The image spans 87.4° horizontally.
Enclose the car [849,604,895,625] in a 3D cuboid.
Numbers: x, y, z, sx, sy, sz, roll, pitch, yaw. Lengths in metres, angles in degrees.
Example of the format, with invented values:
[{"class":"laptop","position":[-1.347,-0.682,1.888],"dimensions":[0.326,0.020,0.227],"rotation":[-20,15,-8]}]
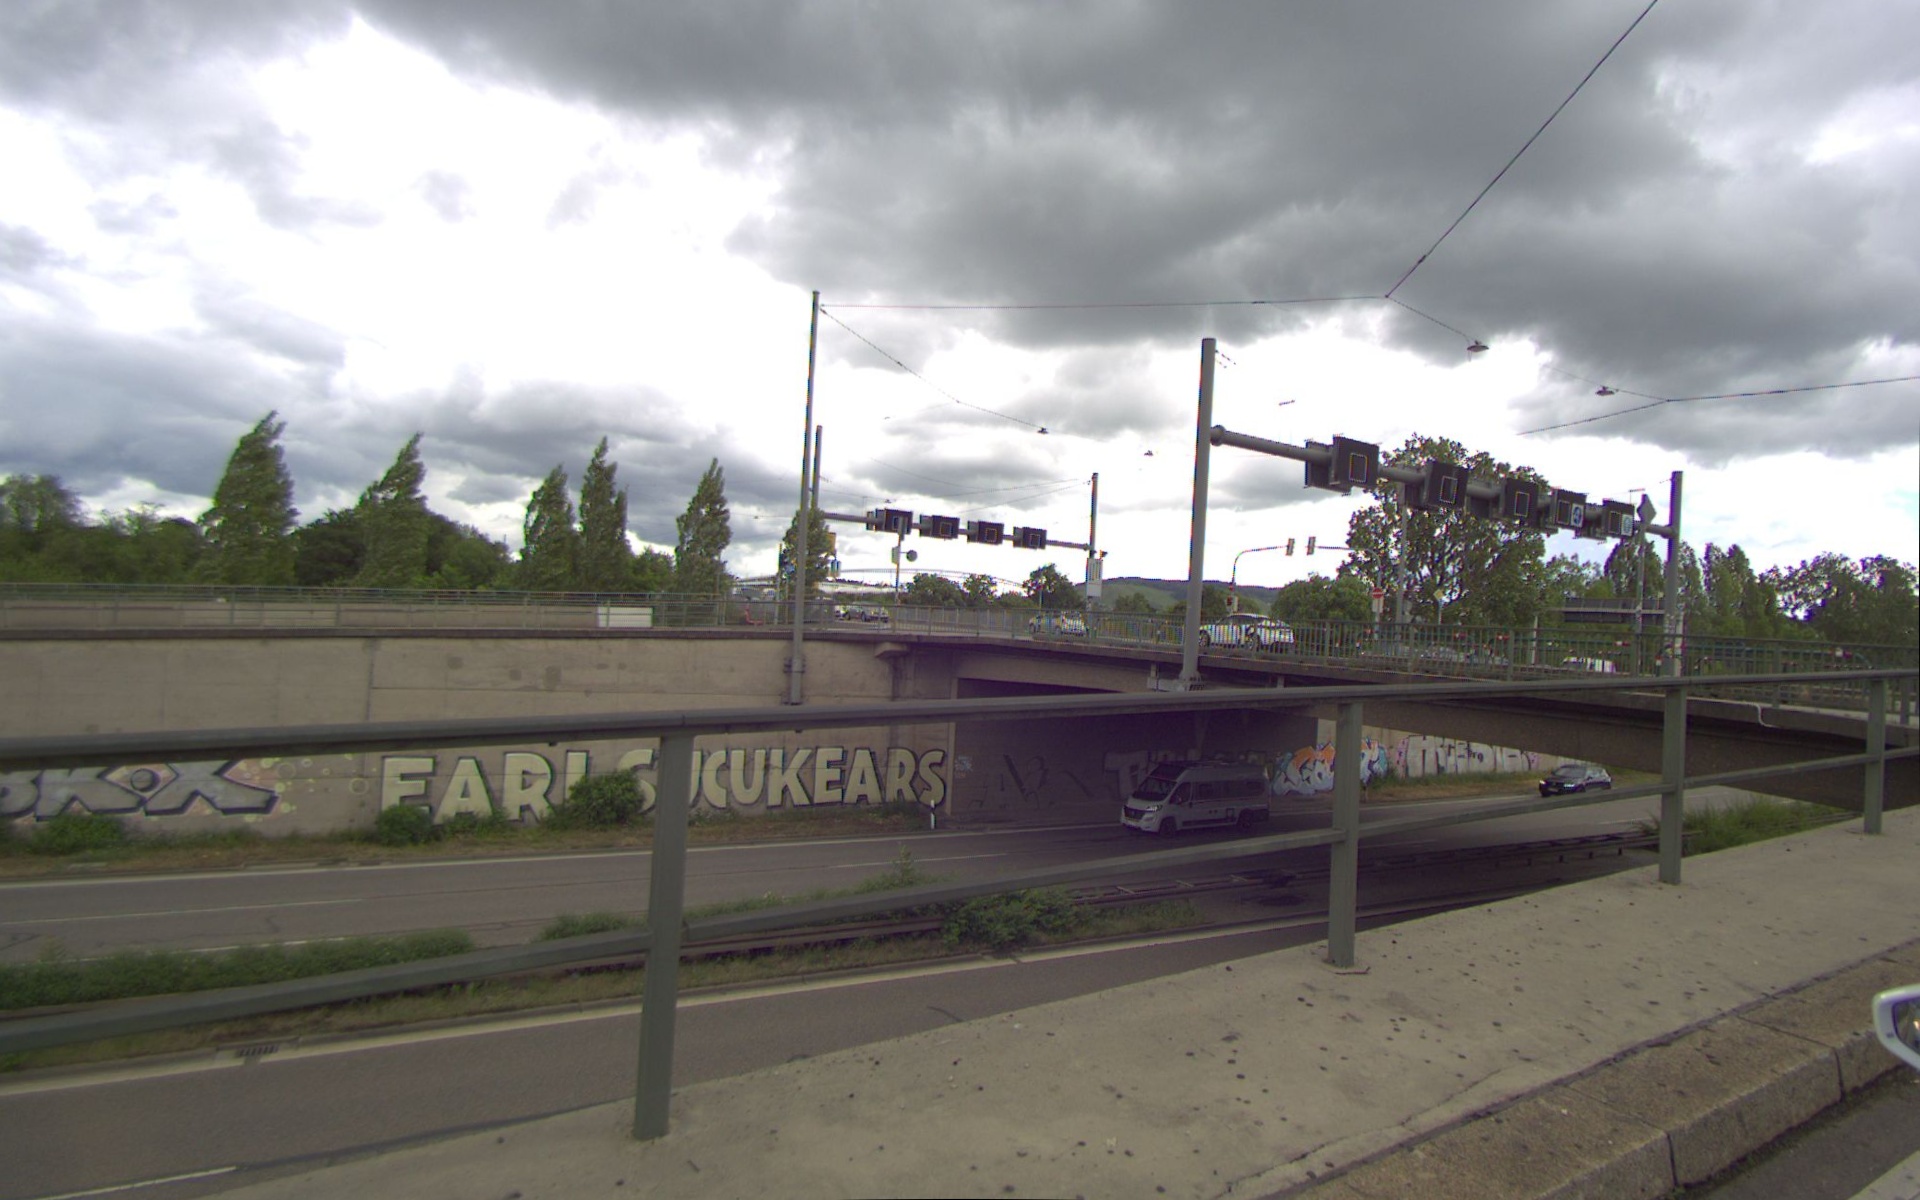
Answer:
[{"class":"car","position":[-5.860,0.959,66.495],"dimensions":[1.537,1.372,3.860],"rotation":[1,-1,-31]}]

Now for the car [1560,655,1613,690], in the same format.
[{"class":"car","position":[43.823,5.013,70.249],"dimensions":[3.626,2.245,1.843],"rotation":[1,0,-35]}]

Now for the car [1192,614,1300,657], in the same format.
[{"class":"car","position":[12.480,1.518,44.058],"dimensions":[1.917,1.740,4.365],"rotation":[1,-1,-33]}]

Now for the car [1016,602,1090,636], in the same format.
[{"class":"car","position":[5.033,1.014,54.774],"dimensions":[1.918,1.740,3.961],"rotation":[1,-1,-35]}]

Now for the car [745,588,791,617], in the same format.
[{"class":"car","position":[-14.185,0.163,74.008],"dimensions":[1.711,2.040,4.443],"rotation":[1,0,-35]}]

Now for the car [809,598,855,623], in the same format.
[{"class":"car","position":[-8.324,0.654,65.107],"dimensions":[1.560,1.587,3.715],"rotation":[1,0,-31]}]

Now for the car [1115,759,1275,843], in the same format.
[{"class":"car","position":[8.946,7.493,37.992],"dimensions":[6.261,2.567,2.071],"rotation":[4,-3,-33]}]

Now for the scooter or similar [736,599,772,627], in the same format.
[{"class":"scooter or similar","position":[-8.893,0.566,43.309],"dimensions":[1.402,1.108,0.539],"rotation":[3,-2,-34]}]

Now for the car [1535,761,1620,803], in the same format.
[{"class":"car","position":[33.288,9.756,54.127],"dimensions":[4.537,1.774,1.984],"rotation":[4,-2,-30]}]
